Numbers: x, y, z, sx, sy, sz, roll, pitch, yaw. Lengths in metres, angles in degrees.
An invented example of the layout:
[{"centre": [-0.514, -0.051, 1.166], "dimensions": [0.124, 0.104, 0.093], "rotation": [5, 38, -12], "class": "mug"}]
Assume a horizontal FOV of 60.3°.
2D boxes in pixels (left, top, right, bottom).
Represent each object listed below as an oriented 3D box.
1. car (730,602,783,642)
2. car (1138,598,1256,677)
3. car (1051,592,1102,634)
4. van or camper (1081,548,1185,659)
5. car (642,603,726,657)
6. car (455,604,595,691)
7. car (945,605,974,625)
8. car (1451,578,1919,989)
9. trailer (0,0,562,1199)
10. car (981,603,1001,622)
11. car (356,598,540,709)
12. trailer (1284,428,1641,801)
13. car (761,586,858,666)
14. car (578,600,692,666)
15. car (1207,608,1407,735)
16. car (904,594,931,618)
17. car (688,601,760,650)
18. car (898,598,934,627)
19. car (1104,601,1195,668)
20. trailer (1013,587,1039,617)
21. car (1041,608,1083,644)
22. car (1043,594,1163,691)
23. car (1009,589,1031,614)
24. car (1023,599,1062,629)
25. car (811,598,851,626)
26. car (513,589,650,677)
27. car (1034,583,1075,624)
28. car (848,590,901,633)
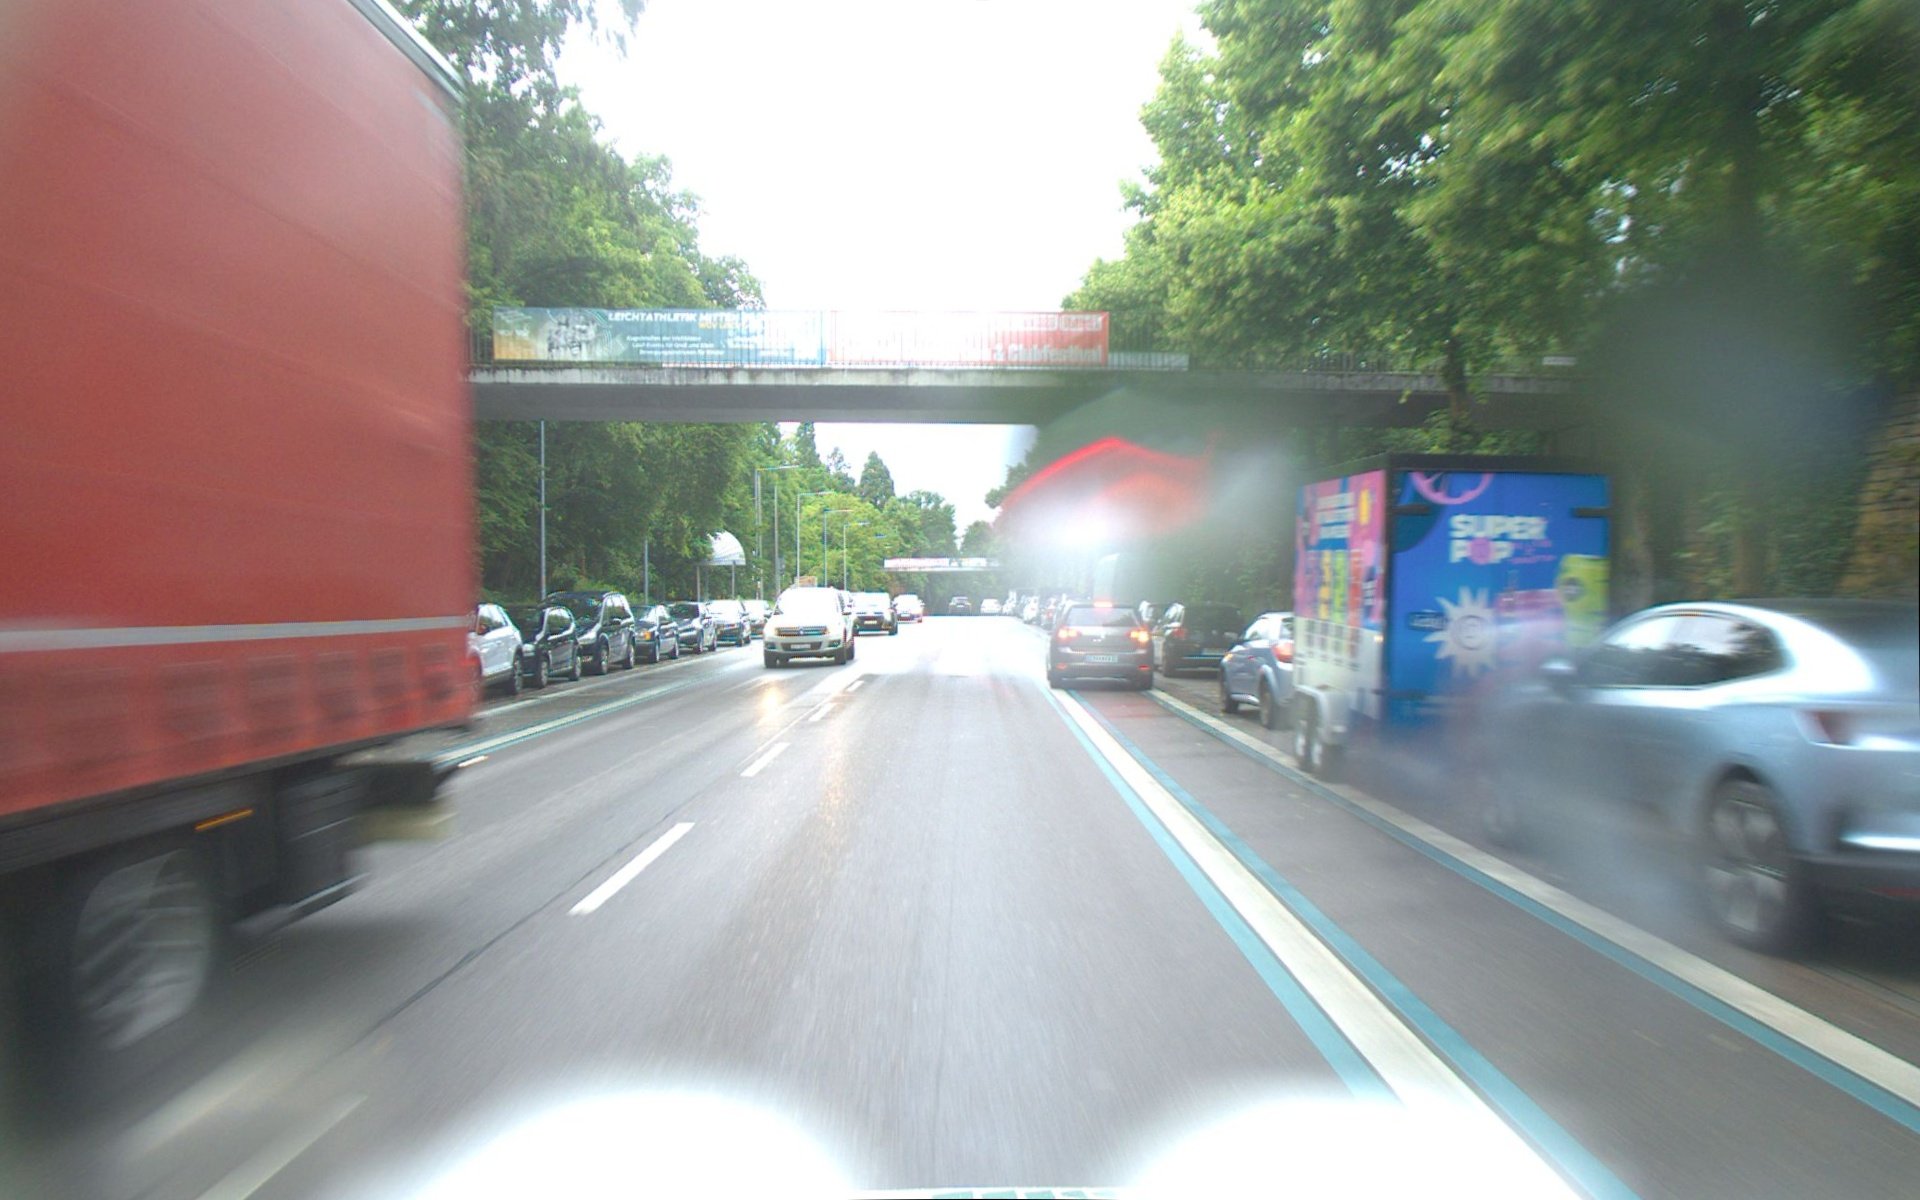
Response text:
[{"centre": [-7.997, 0.855, 65.189], "dimensions": [1.637, 1.483, 3.993], "rotation": [0, 1, -1], "class": "car"}, {"centre": [4.612, 0.700, 32.745], "dimensions": [1.652, 1.441, 4.196], "rotation": [0, 0, -1], "class": "car"}, {"centre": [4.636, 0.496, 66.455], "dimensions": [1.720, 1.617, 4.498], "rotation": [1, 0, 0], "class": "car"}, {"centre": [4.655, 0.085, 45.506], "dimensions": [2.001, 2.777, 6.899], "rotation": [1, 0, -1], "class": "van or camper"}, {"centre": [-7.982, 0.842, 48.146], "dimensions": [1.748, 1.448, 4.295], "rotation": [0, 1, -1], "class": "car"}, {"centre": [-8.038, 0.839, 30.903], "dimensions": [1.576, 1.464, 3.843], "rotation": [0, 1, 0], "class": "car"}, {"centre": [-0.060, 1.154, 130.219], "dimensions": [2.097, 1.518, 4.497], "rotation": [1, 0, -2], "class": "car"}, {"centre": [4.339, 0.710, 8.774], "dimensions": [1.861, 1.574, 4.753], "rotation": [2, 0, -2], "class": "car"}, {"centre": [-3.565, -0.664, 2.757], "dimensions": [2.633, 4.333, 12.767], "rotation": [-2, 0, 0], "class": "trailer"}, {"centre": [2.705, 1.064, 145.371], "dimensions": [1.695, 1.611, 4.036], "rotation": [-1, 0, 0], "class": "car"}, {"centre": [-8.062, 0.782, 26.429], "dimensions": [1.653, 1.573, 4.232], "rotation": [0, 1, -1], "class": "car"}, {"centre": [4.204, 0.105, 14.533], "dimensions": [1.912, 2.807, 4.007], "rotation": [0, 0, 0], "class": "trailer"}, {"centre": [-3.311, 0.542, 37.071], "dimensions": [1.796, 1.695, 4.180], "rotation": [0, 0, 0], "class": "car"}, {"centre": [-8.120, 0.793, 41.758], "dimensions": [1.943, 1.498, 4.897], "rotation": [1, 1, -1], "class": "car"}, {"centre": [4.256, 0.829, 20.855], "dimensions": [1.552, 1.376, 3.861], "rotation": [1, 0, -2], "class": "car"}, {"centre": [-3.026, 0.411, 118.666], "dimensions": [1.758, 1.680, 4.129], "rotation": [-1, 0, 1], "class": "car"}, {"centre": [-7.854, 0.818, 55.427], "dimensions": [1.917, 1.488, 4.754], "rotation": [0, 1, -3], "class": "car"}, {"centre": [-2.493, 0.700, 94.333], "dimensions": [1.882, 1.588, 4.621], "rotation": [1, 0, 0], "class": "car"}, {"centre": [4.320, 0.745, 38.179], "dimensions": [1.651, 1.441, 4.100], "rotation": [1, 0, 0], "class": "car"}, {"centre": [5.090, 0.155, 128.232], "dimensions": [1.845, 2.204, 3.808], "rotation": [-1, 0, 1], "class": "trailer"}, {"centre": [4.553, 1.156, 74.160], "dimensions": [1.651, 1.478, 4.165], "rotation": [1, 0, 0], "class": "car"}, {"centre": [2.381, 0.664, 28.364], "dimensions": [1.780, 1.534, 4.139], "rotation": [0, 0, 1], "class": "car"}, {"centre": [5.226, 0.124, 144.843], "dimensions": [1.850, 2.164, 4.045], "rotation": [1, 0, 1], "class": "car"}, {"centre": [4.459, 0.745, 89.961], "dimensions": [1.753, 1.570, 4.888], "rotation": [1, 0, -2], "class": "car"}, {"centre": [-7.918, 0.717, 102.225], "dimensions": [1.949, 1.633, 4.985], "rotation": [-1, 1, 1], "class": "car"}, {"centre": [-8.199, 0.655, 36.267], "dimensions": [1.950, 1.772, 4.837], "rotation": [0, 1, -1], "class": "car"}, {"centre": [4.822, 0.165, 85.047], "dimensions": [1.887, 2.057, 4.663], "rotation": [0, 0, 0], "class": "car"}, {"centre": [-3.367, 0.432, 65.843], "dimensions": [1.926, 1.656, 4.320], "rotation": [-1, 0, -1], "class": "car"}]
